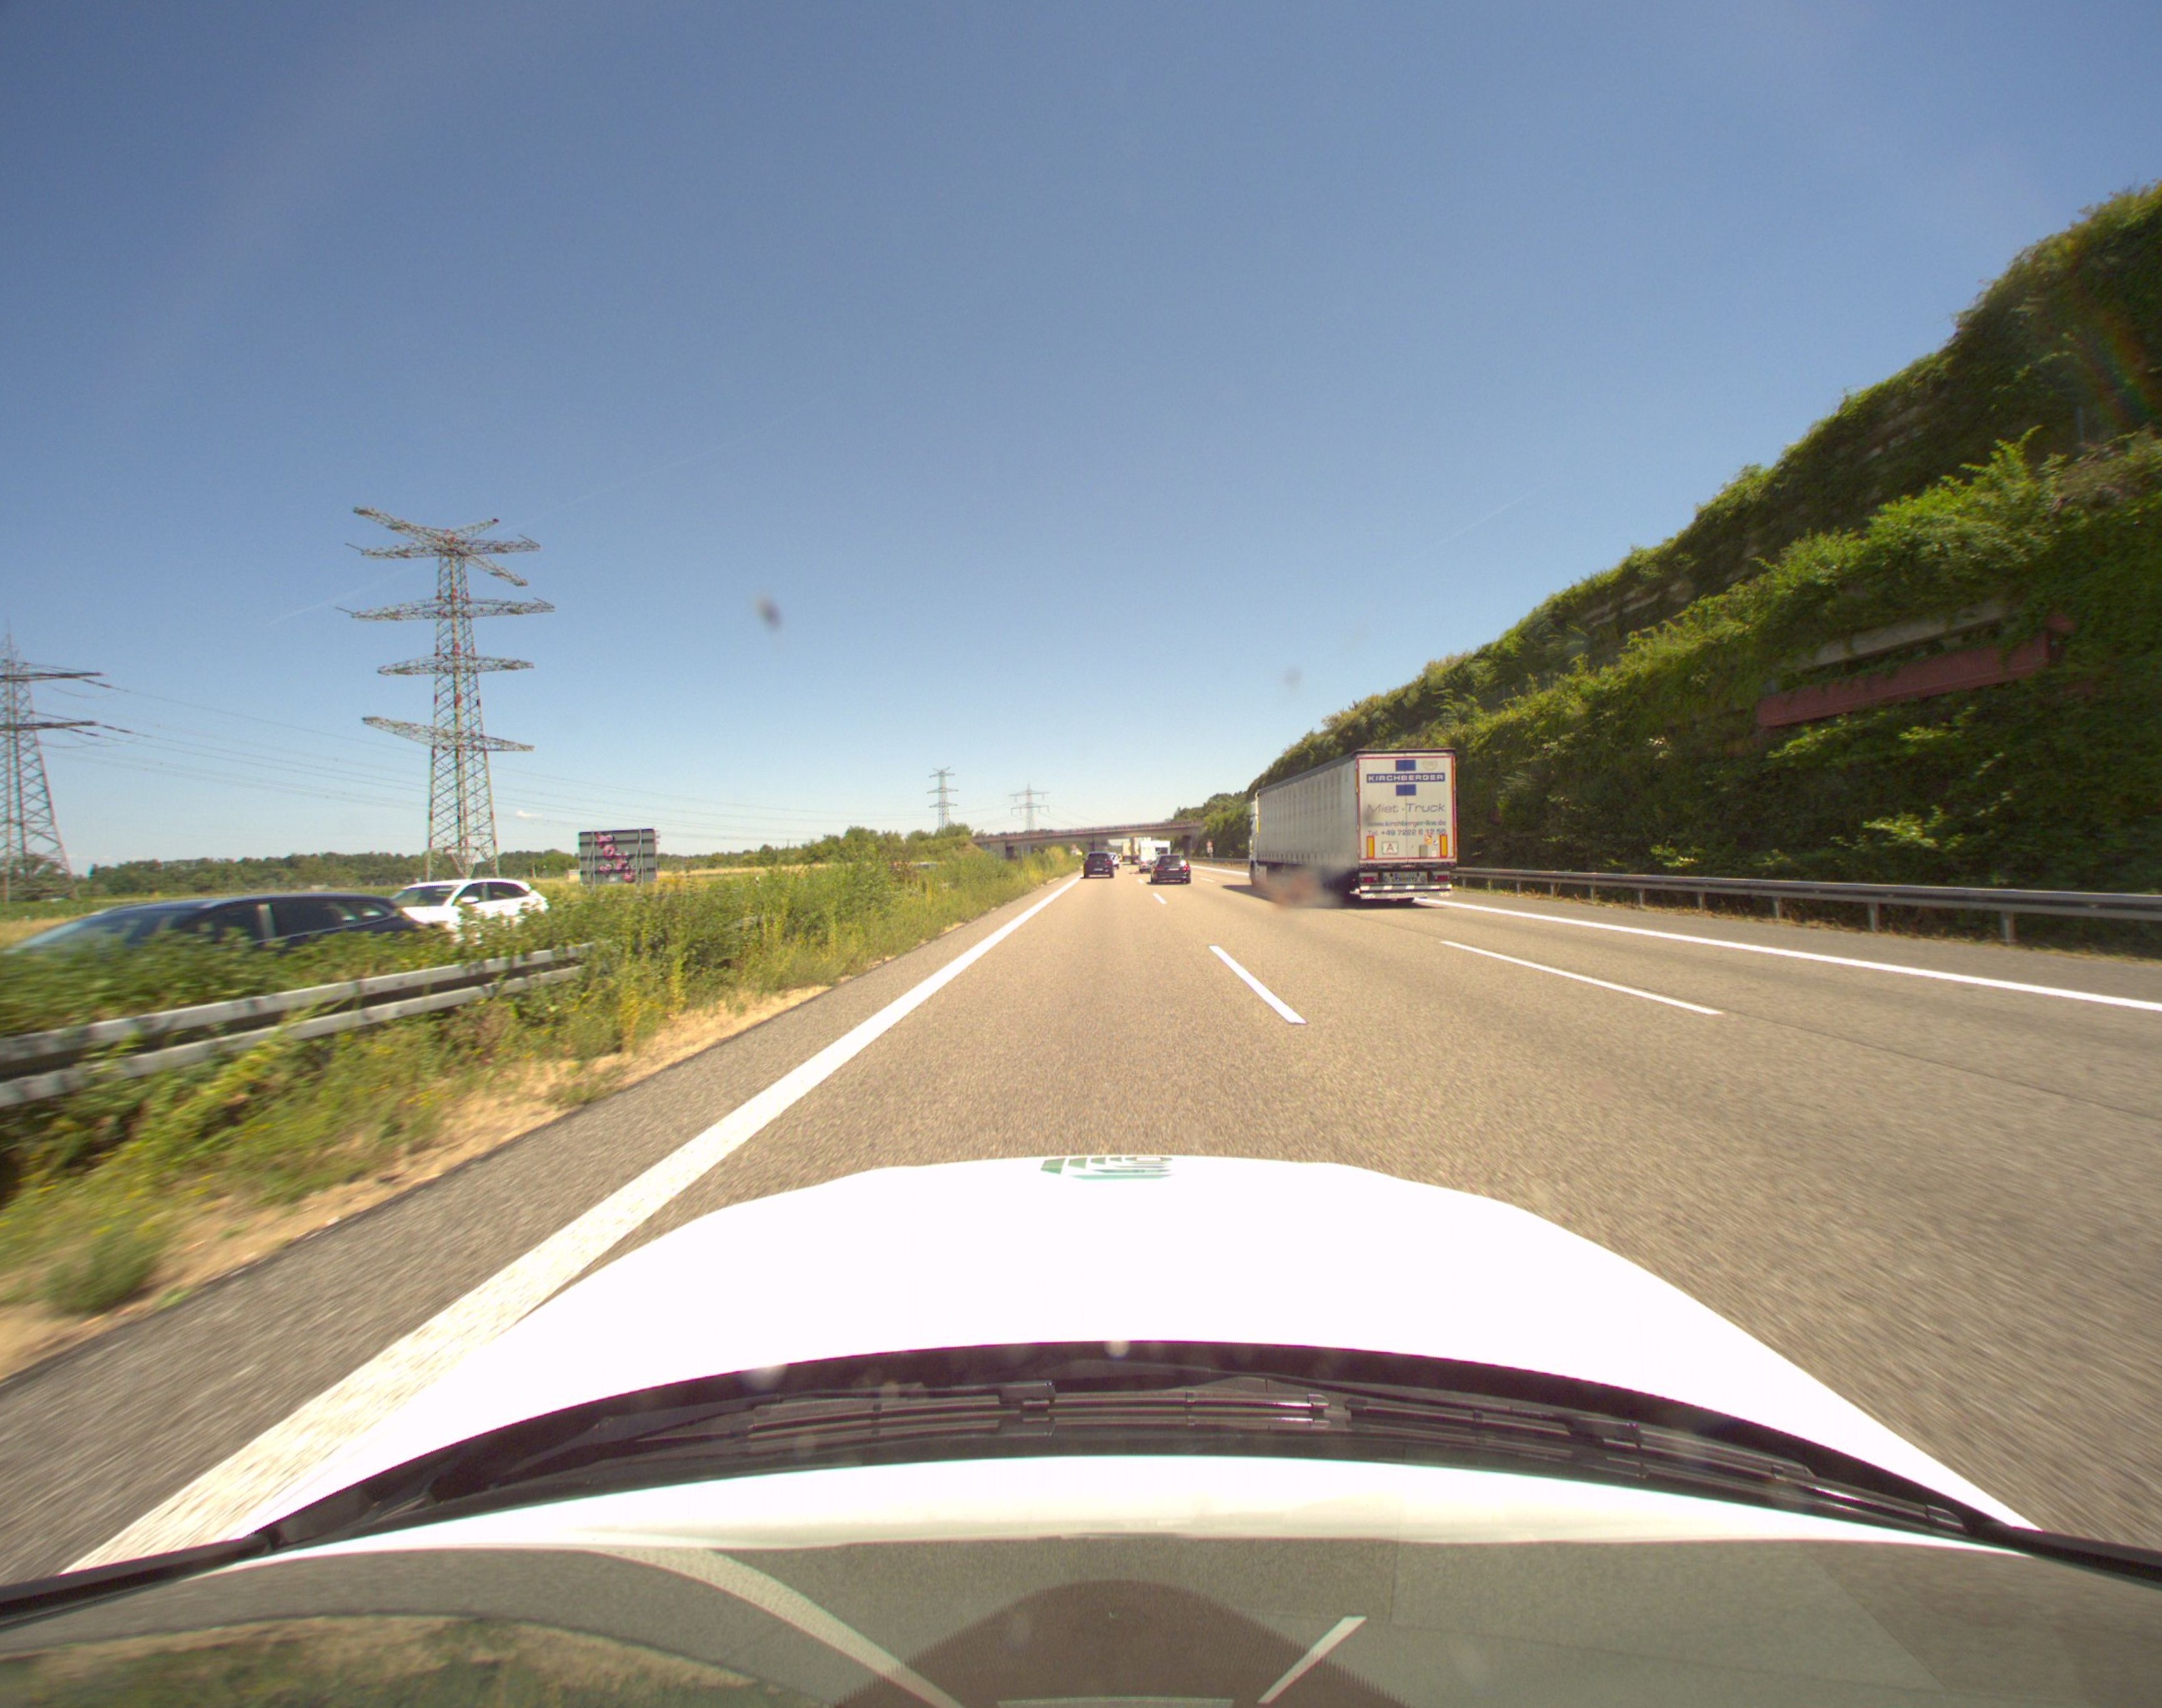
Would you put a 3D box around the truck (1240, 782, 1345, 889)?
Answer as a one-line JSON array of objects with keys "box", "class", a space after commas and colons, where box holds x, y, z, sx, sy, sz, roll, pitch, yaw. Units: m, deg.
[{"box": [8.941, -0.750, 35.133, 3.124, 4.141, 5.506, -2, 0, 2], "class": "truck"}]

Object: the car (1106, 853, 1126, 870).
[{"box": [3.642, 0.733, 84.622, 1.824, 1.670, 3.999, -2, 0, 0], "class": "car"}]

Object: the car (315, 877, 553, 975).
[{"box": [-13.223, 1.385, 16.986, 1.605, 1.651, 3.925, -2, 0, 3], "class": "car"}]

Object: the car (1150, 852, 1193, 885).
[{"box": [4.509, 0.691, 41.186, 1.823, 1.525, 4.002, -2, 0, 2], "class": "car"}]

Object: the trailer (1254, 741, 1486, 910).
[{"box": [8.683, -0.729, 27.168, 3.171, 4.121, 13.436, -2, 0, 2], "class": "trailer"}]

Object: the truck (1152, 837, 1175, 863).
[{"box": [14.387, -0.675, 143.175, 3.107, 4.280, 10.171, -2, 0, 2], "class": "truck"}]

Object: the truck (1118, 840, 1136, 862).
[{"box": [9.465, -0.551, 168.905, 3.397, 4.280, 10.611, -2, 0, 2], "class": "truck"}]

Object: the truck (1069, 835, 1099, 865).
[{"box": [0.515, -0.545, 117.933, 3.947, 4.113, 9.954, -2, 0, 1], "class": "truck"}]

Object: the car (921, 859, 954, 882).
[{"box": [-11.196, 1.228, 63.585, 1.605, 1.651, 3.925, -2, 0, 3], "class": "car"}]

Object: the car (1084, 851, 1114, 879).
[{"box": [1.156, 0.679, 53.542, 1.823, 1.670, 4.001, -2, 0, 1], "class": "car"}]

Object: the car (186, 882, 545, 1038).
[{"box": [-9.028, 1.225, 10.709, 1.464, 1.544, 3.494, -2, 0, 3], "class": "car"}]

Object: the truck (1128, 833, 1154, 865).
[{"box": [8.731, -0.669, 119.214, 3.107, 4.280, 11.938, -2, 0, 2], "class": "truck"}]

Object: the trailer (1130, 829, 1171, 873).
[{"box": [5.610, -0.226, 66.939, 2.601, 3.213, 9.954, -2, 0, 1], "class": "trailer"}]
